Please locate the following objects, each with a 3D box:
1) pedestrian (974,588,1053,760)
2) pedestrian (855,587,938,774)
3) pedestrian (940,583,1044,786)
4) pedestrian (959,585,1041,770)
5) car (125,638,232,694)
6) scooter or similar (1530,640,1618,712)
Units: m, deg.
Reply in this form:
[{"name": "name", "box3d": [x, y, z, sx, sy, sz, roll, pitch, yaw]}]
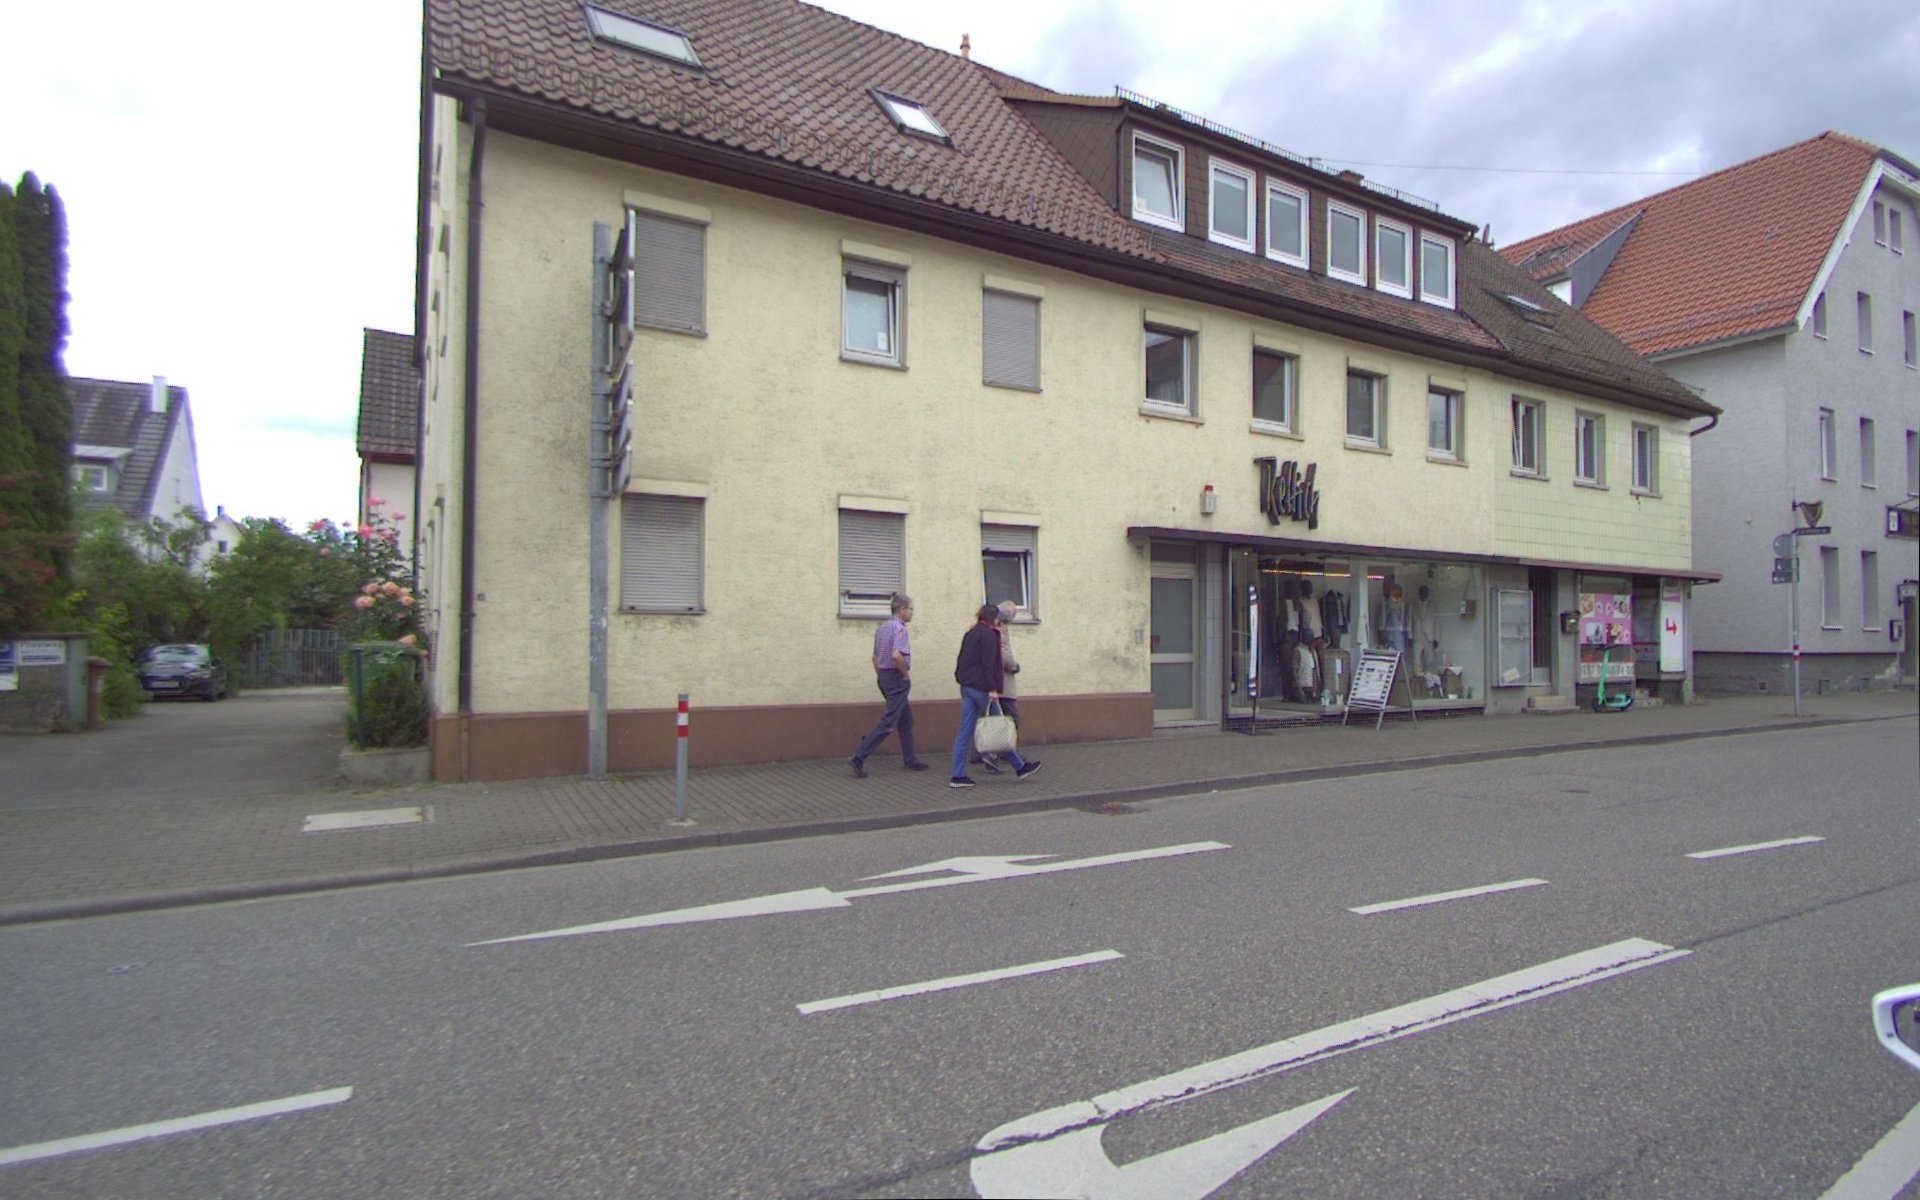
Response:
[{"name": "pedestrian", "box3d": [0.570, 0.766, 10.669, 0.640, 1.760, 0.551, 1, -1, -29]}, {"name": "pedestrian", "box3d": [-0.625, 0.767, 9.847, 0.640, 1.760, 0.551, 1, -1, -29]}, {"name": "pedestrian", "box3d": [0.291, 0.747, 9.220, 0.708, 1.760, 0.675, 1, -1, -29]}, {"name": "pedestrian", "box3d": [0.396, 0.748, 9.958, 0.640, 1.760, 0.494, 1, -1, -29]}, {"name": "car", "box3d": [-19.311, 1.627, 24.970, 1.766, 1.290, 3.964, 1, -4, -34]}, {"name": "scooter or similar", "box3d": [10.661, 1.292, 17.419, 1.701, 1.185, 0.525, 1, 0, -30]}]
